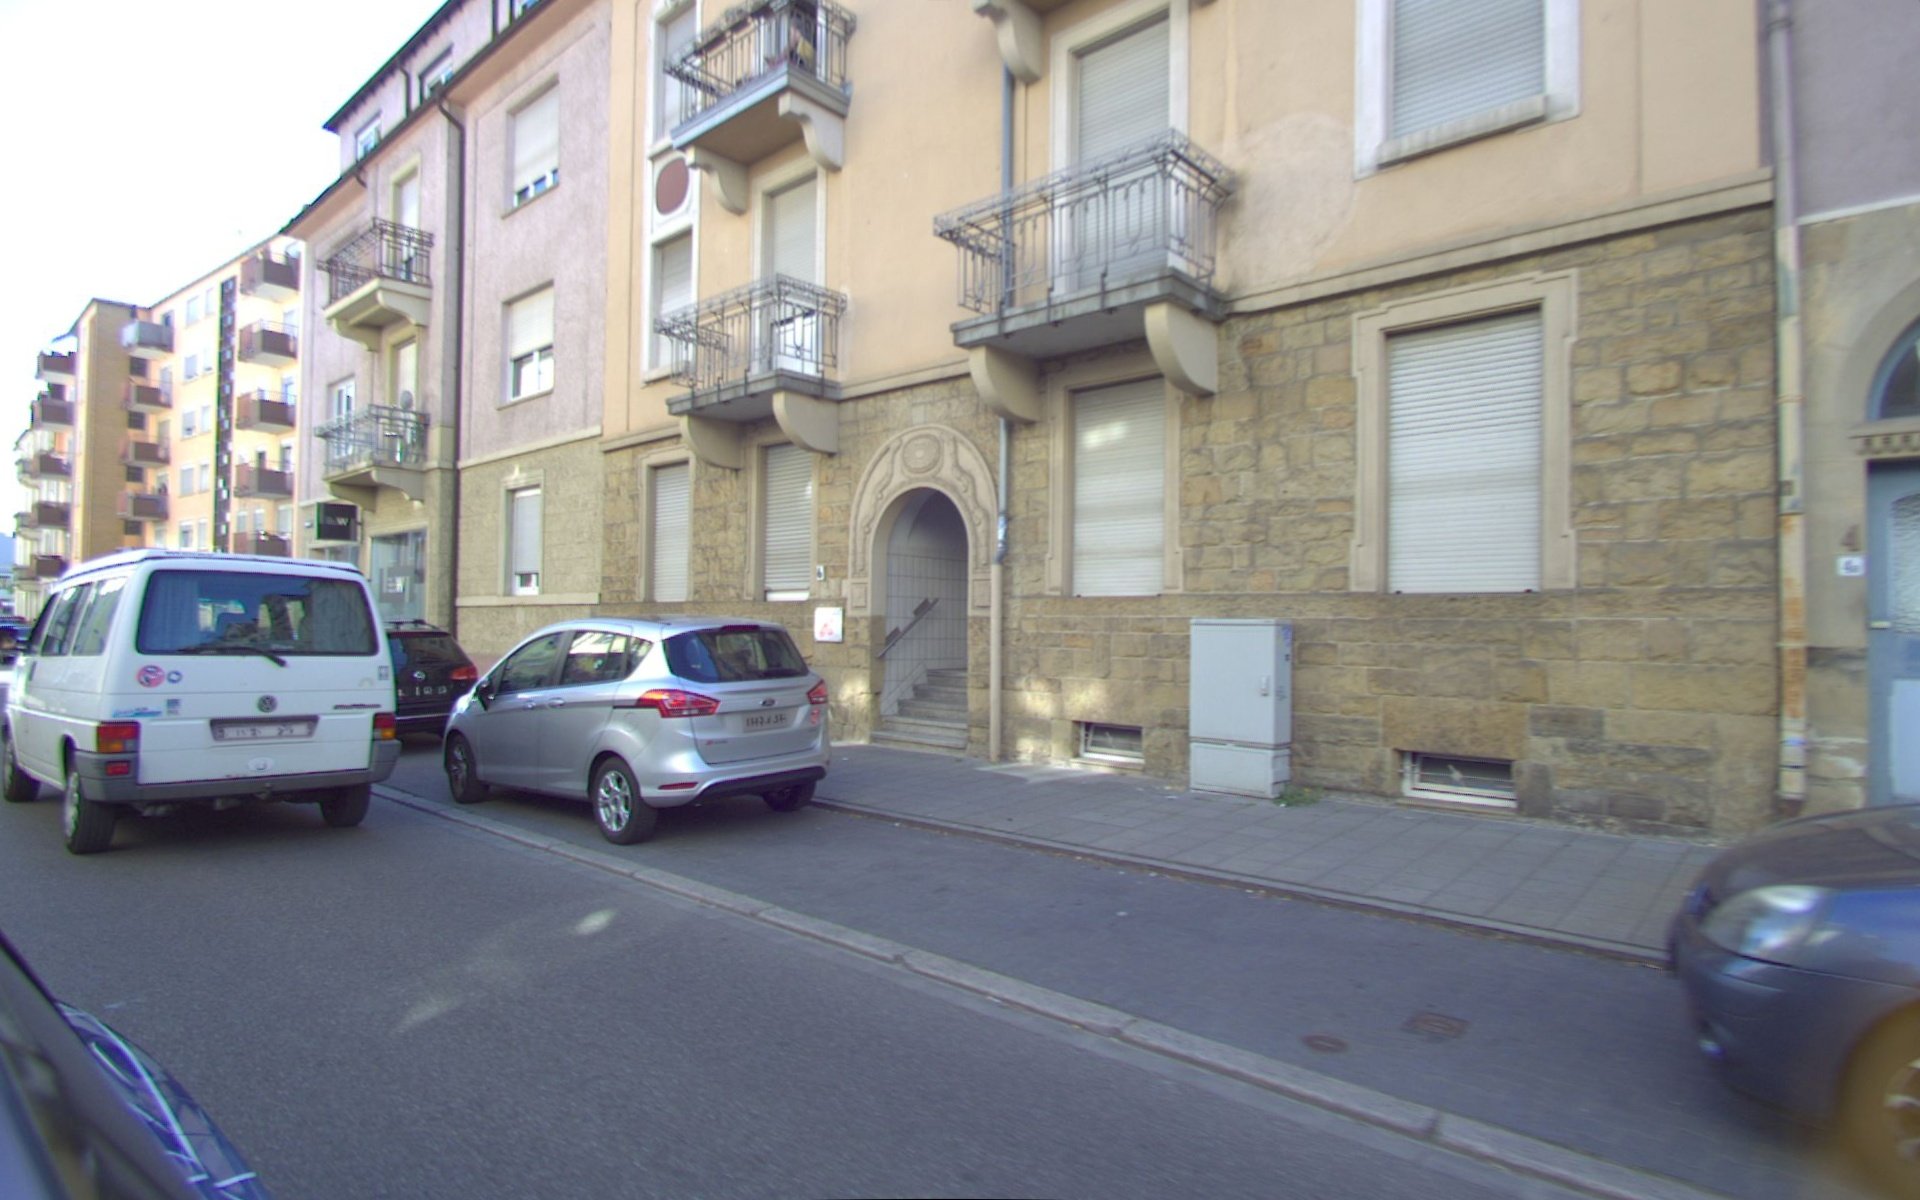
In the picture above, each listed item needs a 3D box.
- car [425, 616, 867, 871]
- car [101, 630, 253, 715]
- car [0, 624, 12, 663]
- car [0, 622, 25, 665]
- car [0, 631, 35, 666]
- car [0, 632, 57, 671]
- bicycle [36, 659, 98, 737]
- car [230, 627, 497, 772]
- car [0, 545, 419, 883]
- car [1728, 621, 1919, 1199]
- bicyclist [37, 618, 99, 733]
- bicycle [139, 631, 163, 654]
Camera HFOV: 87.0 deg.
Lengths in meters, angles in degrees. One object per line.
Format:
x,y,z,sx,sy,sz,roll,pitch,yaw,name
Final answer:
-2.674,0.956,8.206,3.721,1.549,1.697,-2,-1,41,car
-15.211,1.324,19.593,3.864,1.397,1.696,-2,0,43,car
-48.522,2.137,50.237,4.111,1.892,1.798,-2,-3,43,car
-44.169,1.972,46.205,4.111,1.892,1.798,-2,-3,43,car
-39.796,1.991,42.083,3.285,1.433,1.656,-2,-3,43,car
-36.158,1.942,38.996,3.500,1.433,1.656,-2,-3,43,car
-13.509,1.446,15.291,1.800,1.084,0.534,-2,-3,44,bicycle
-7.577,1.123,12.700,4.108,1.533,1.696,-2,-3,42,car
-6.259,0.768,8.094,4.598,1.952,1.843,-2,-5,42,car
3.992,0.767,2.147,3.663,1.404,1.655,-2,0,40,car
-13.405,1.116,15.217,0.632,1.678,0.601,-2,-3,43,bicyclist
-40.843,2.136,51.082,1.802,1.116,0.488,-1,-3,36,bicycle
